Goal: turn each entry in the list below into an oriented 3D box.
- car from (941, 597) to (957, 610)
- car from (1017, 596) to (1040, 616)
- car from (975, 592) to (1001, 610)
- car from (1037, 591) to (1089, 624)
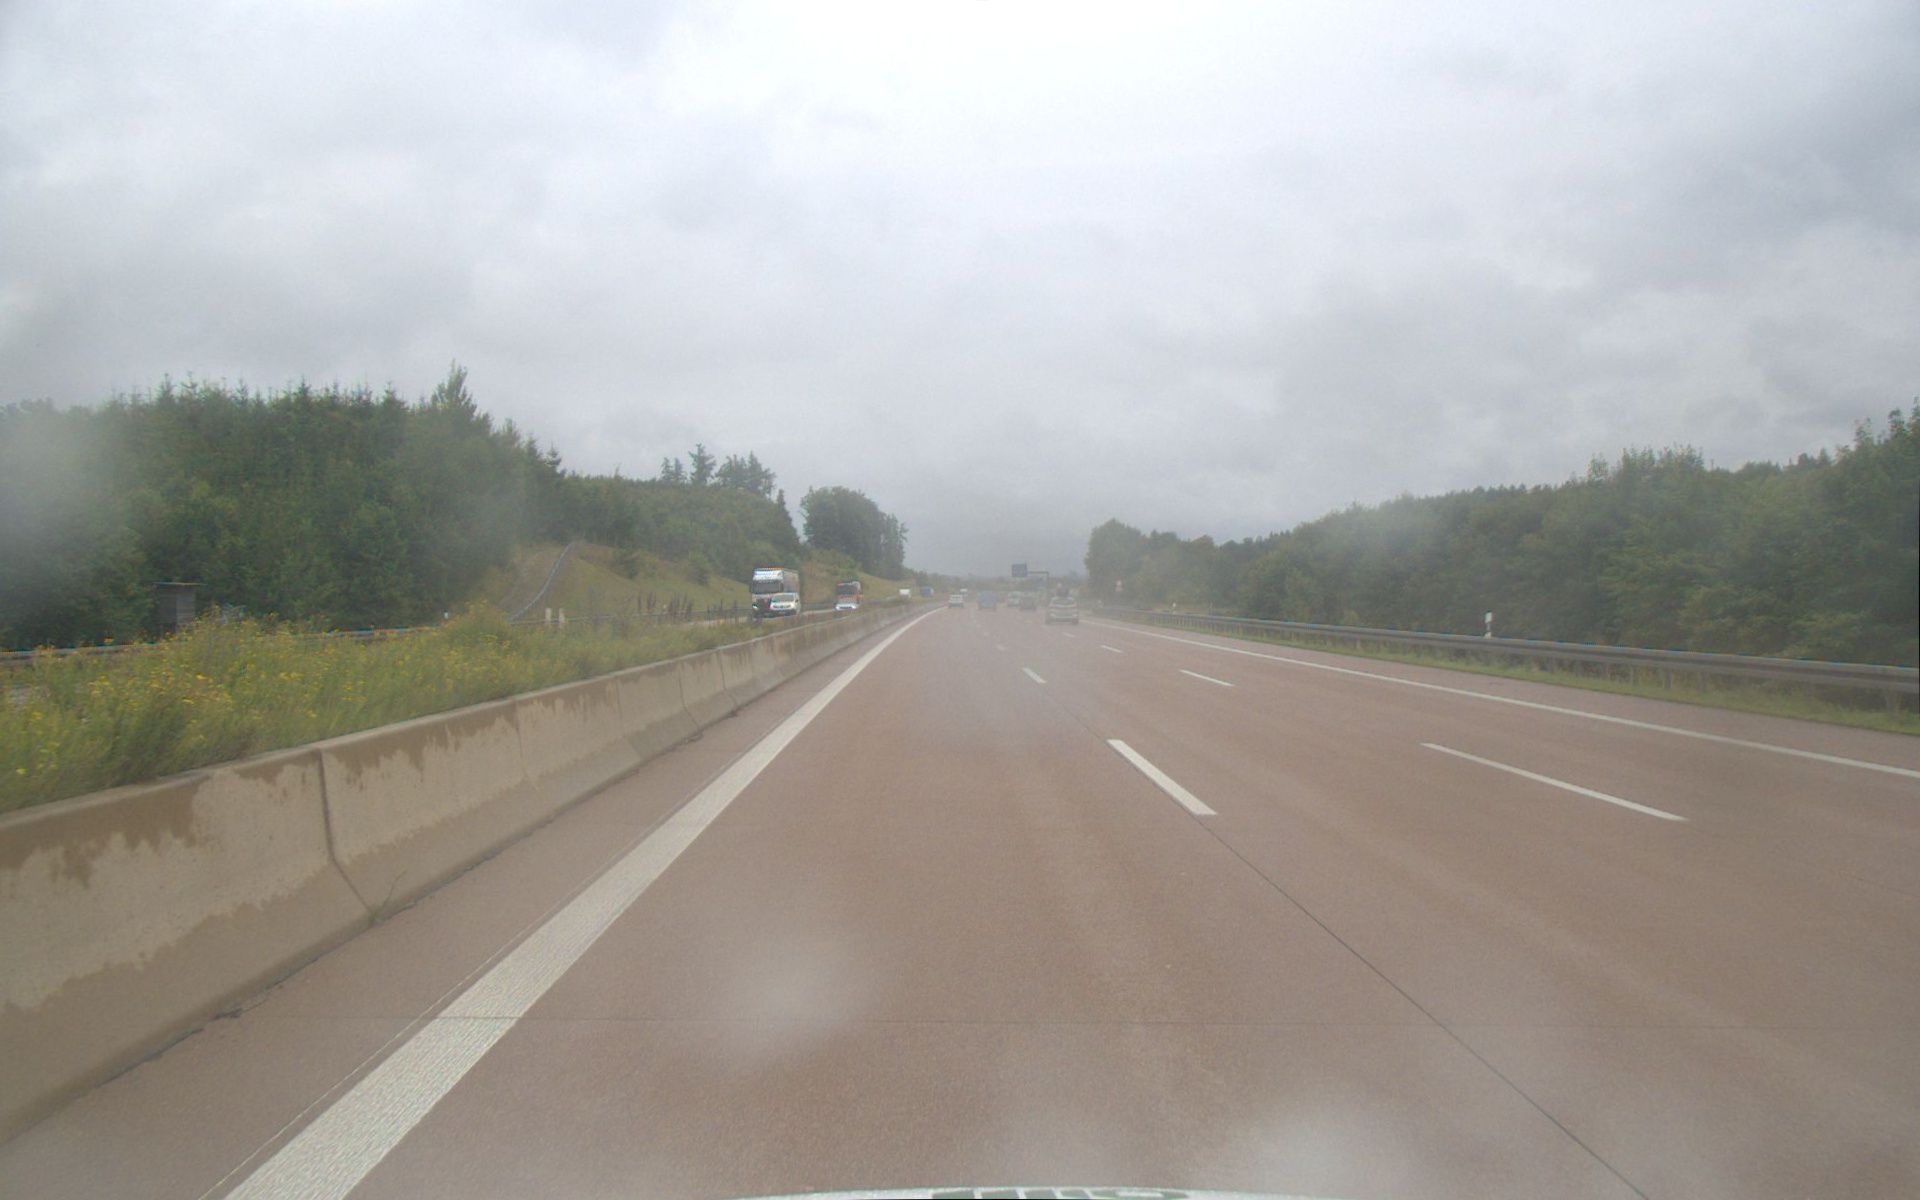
[{"bbox_3d":[-1.307,0.478,199.157,1.836,1.470,4.875,1,-1,-1],"label":"car"},{"bbox_3d":[7.170,0.644,173.449,1.954,2.049,3.996,1,-1,-5],"label":"car"},{"bbox_3d":[2.878,0.134,171.837,2.277,1.780,4.872,1,-1,-5],"label":"car"},{"bbox_3d":[5.929,0.461,95.832,2.277,1.780,4.872,1,-1,-5],"label":"car"}]
